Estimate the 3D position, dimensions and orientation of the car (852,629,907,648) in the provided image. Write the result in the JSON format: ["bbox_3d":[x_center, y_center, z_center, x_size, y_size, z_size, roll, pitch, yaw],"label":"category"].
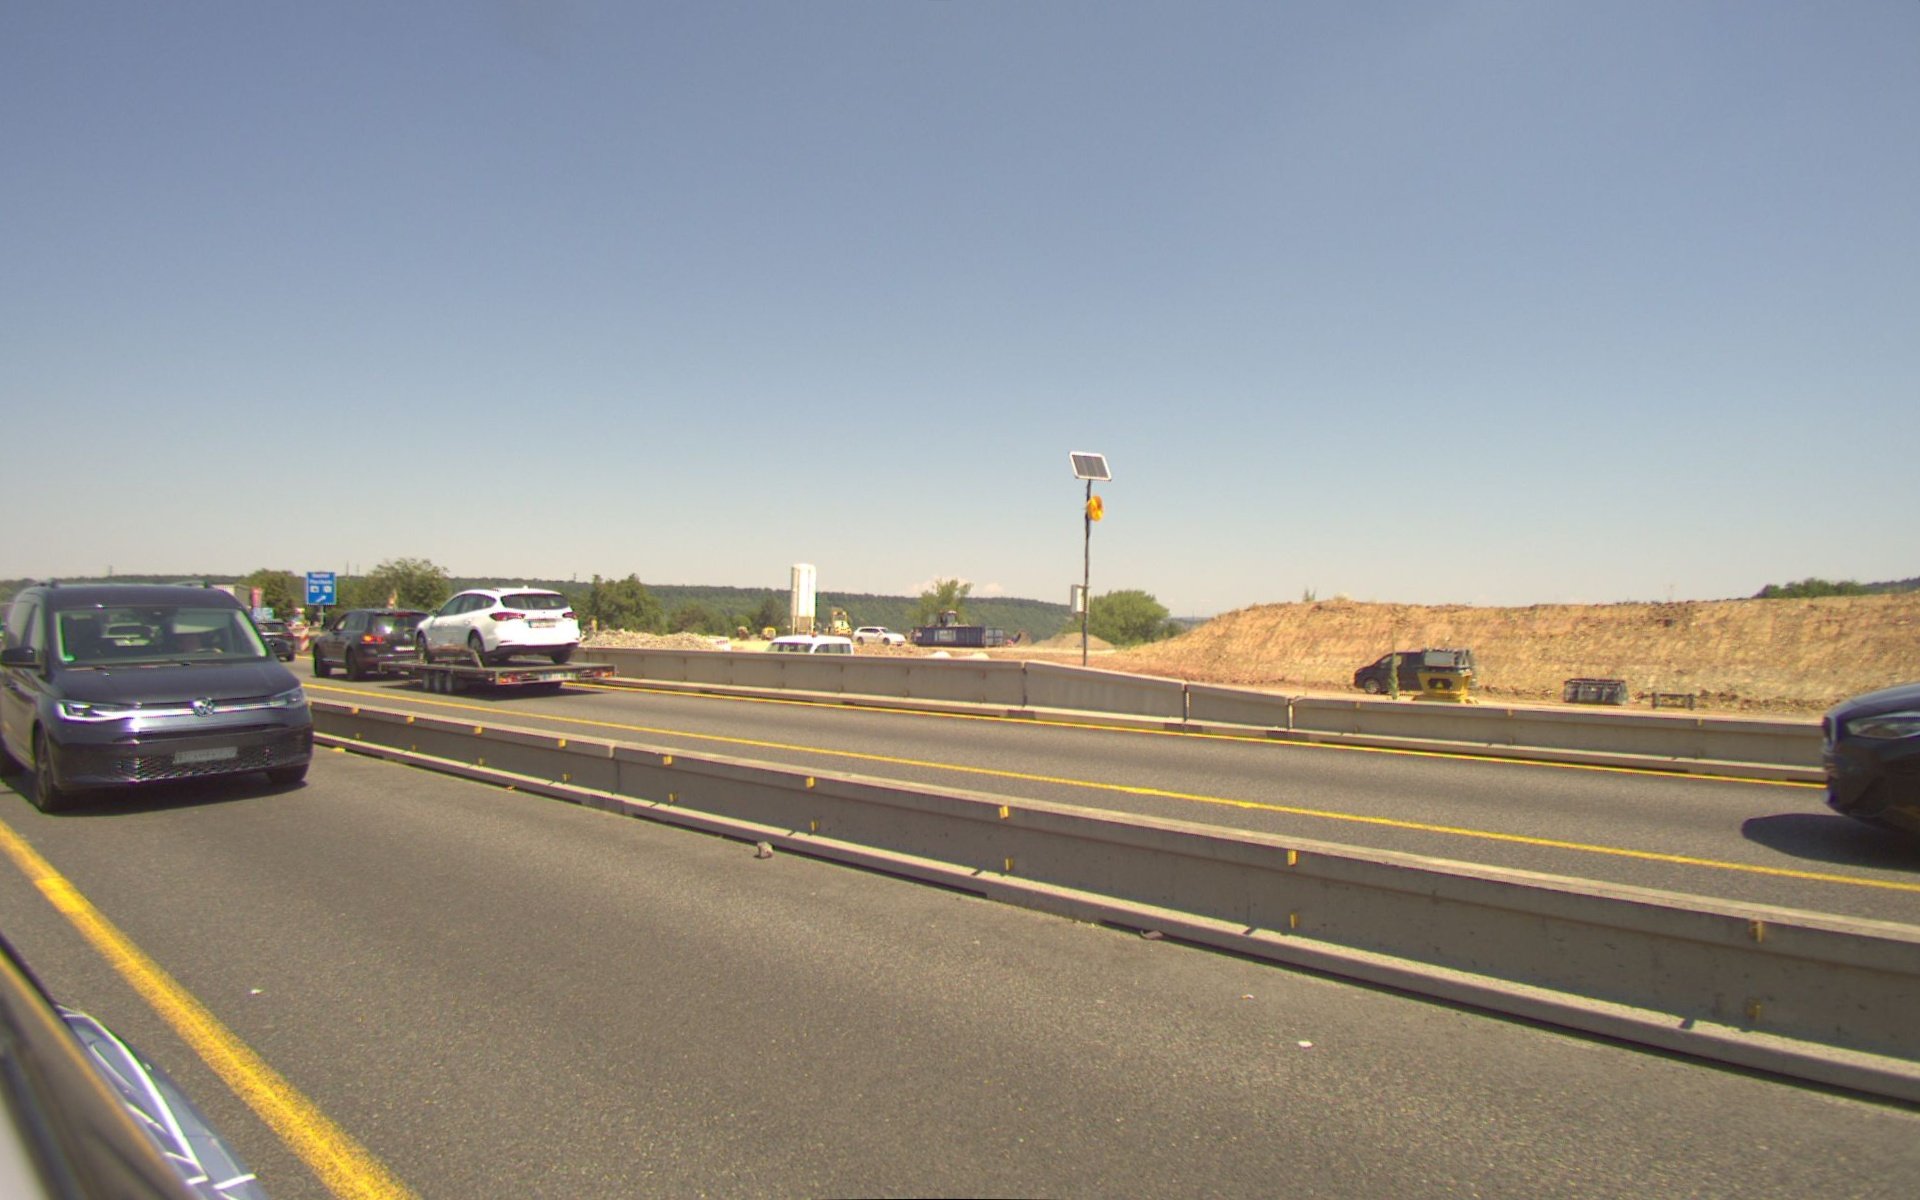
[{"bbox_3d":[-6.274,2.978,78.617,4.441,1.420,1.596,-1,-2,39],"label":"car"}]

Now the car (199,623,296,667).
[{"bbox_3d":[-24.826,1.522,35.183,4.646,1.434,1.802,-2,-2,43],"label":"car"}]

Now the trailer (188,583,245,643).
[{"bbox_3d":[-56.436,1.082,77.090,2.722,4.146,14.014,1,-2,-33],"label":"trailer"}]

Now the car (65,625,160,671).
[{"bbox_3d":[-28.876,1.582,34.432,4.633,1.466,1.797,-1,-2,41],"label":"car"}]

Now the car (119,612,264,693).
[{"bbox_3d":[-16.701,1.091,21.930,4.131,1.591,1.676,-1,-2,41],"label":"car"}]

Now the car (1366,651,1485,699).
[{"bbox_3d":[20.549,3.253,44.708,4.550,1.939,1.978,-1,-2,33],"label":"car"}]

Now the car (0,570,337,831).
[{"bbox_3d":[-7.552,0.726,9.237,4.601,1.803,1.901,-1,-1,41],"label":"car"}]

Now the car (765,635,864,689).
[{"bbox_3d":[-4.255,1.798,29.920,1.537,1.466,3.178,-1,-2,22],"label":"car"}]

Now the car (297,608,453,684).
[{"bbox_3d":[-14.353,1.073,24.720,4.715,1.692,1.903,-1,-1,41],"label":"car"}]

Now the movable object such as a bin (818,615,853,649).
[{"bbox_3d":[-12.013,3.054,97.458,1.965,3.165,4.500,0,-2,-25],"label":"movable object such as a bin"}]

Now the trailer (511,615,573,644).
[{"bbox_3d":[-44.913,3.117,108.801,2.881,3.020,5.508,-1,-2,39],"label":"trailer"}]

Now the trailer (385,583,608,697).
[{"bbox_3d":[-9.446,0.811,20.410,5.232,1.997,2.108,-2,-4,41],"label":"trailer"}]

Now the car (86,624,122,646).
[{"bbox_3d":[-58.788,2.389,69.537,1.785,1.425,4.407,1,-2,-39],"label":"car"}]

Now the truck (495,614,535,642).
[{"bbox_3d":[-48.780,3.073,110.938,4.261,3.066,2.317,-1,-2,40],"label":"truck"}]

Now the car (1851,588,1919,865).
[{"bbox_3d":[7.217,0.655,4.812,4.390,1.490,1.707,-1,-2,40],"label":"car"}]

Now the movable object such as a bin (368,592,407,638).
[{"bbox_3d":[-56.685,1.503,100.400,2.882,4.362,9.356,1,-2,-27],"label":"movable object such as a bin"}]

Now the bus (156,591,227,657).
[{"bbox_3d":[-39.471,1.256,51.898,2.320,3.149,7.238,1,-2,-42],"label":"bus"}]
